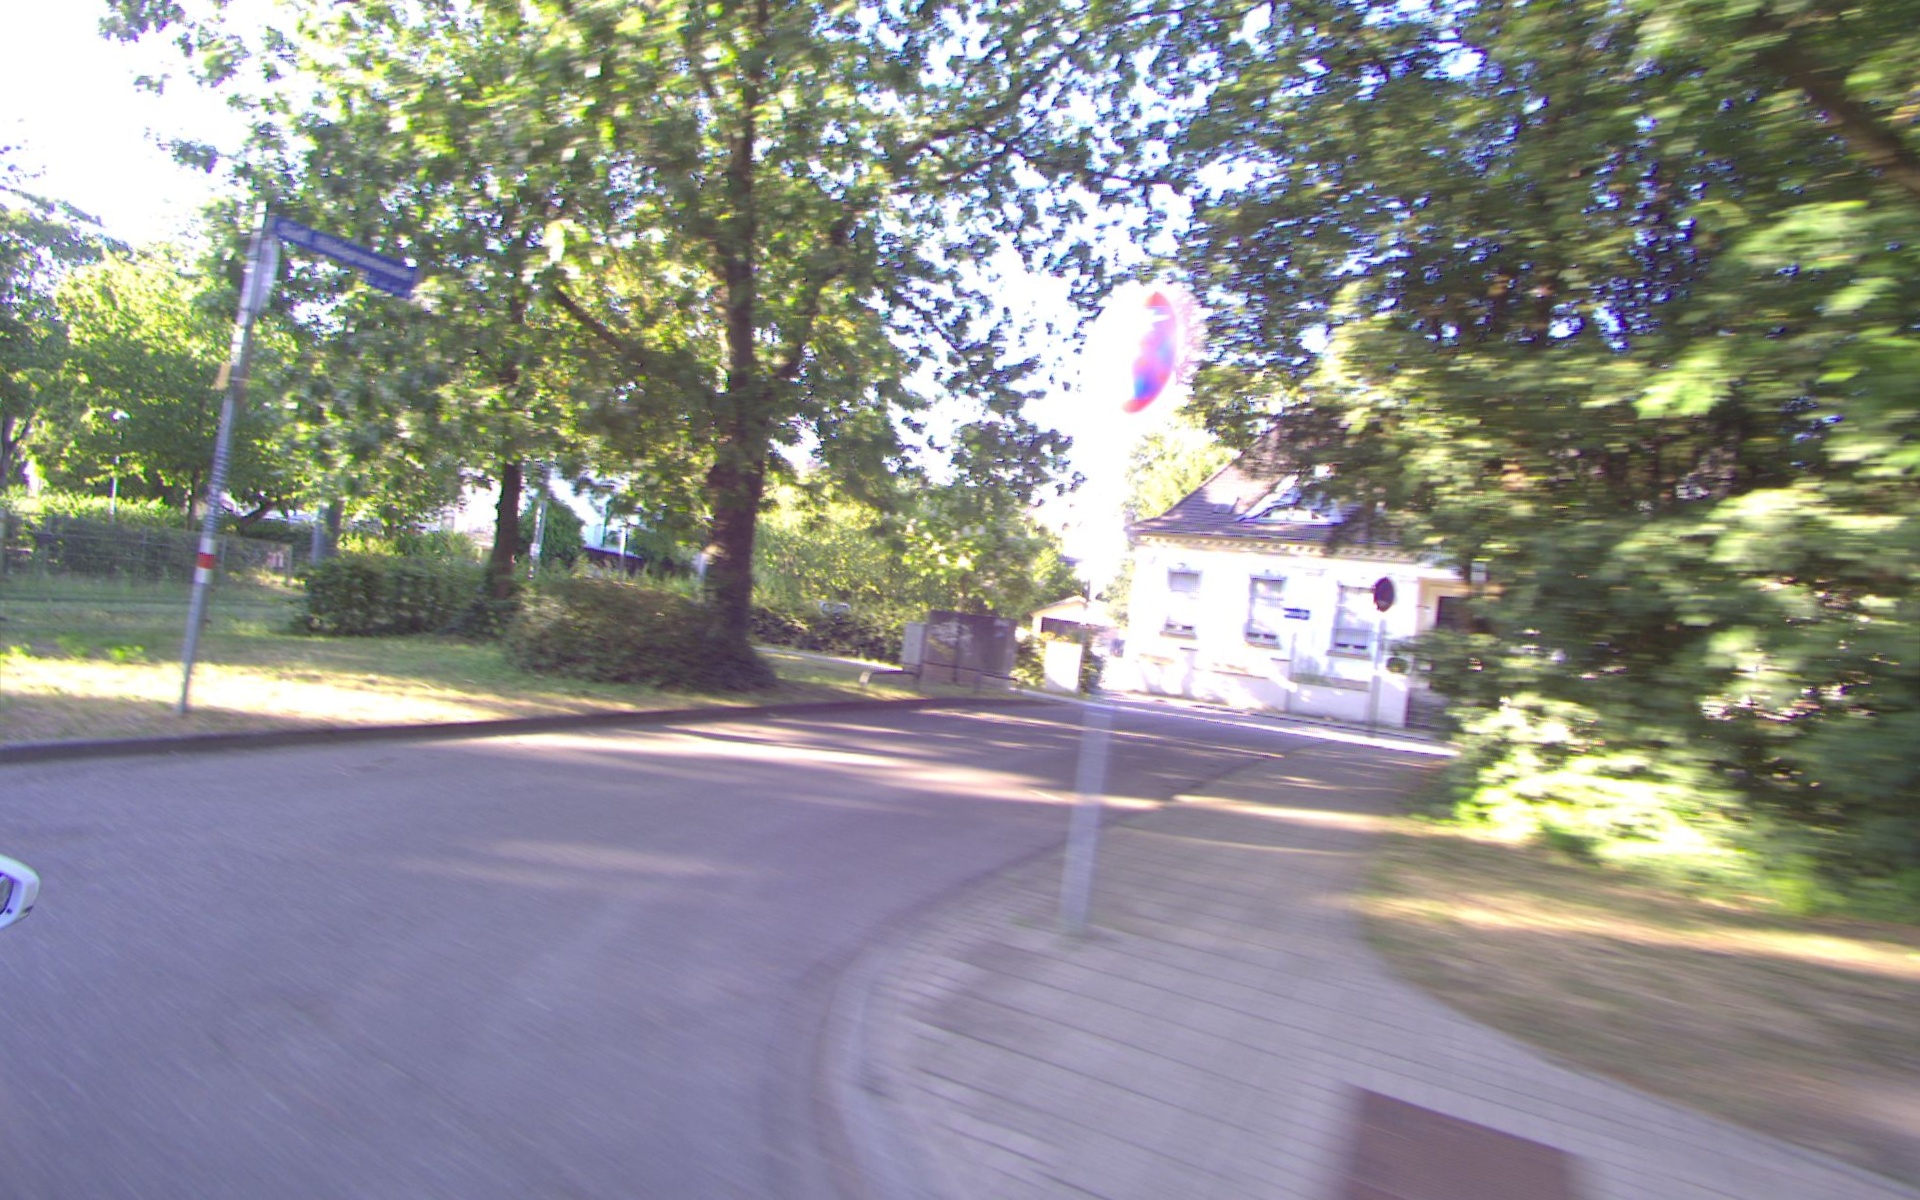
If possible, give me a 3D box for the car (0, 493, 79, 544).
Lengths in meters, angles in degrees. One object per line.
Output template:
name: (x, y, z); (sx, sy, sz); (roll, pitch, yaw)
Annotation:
car: (-44.800, -3.931, 48.032); (1.929, 2.037, 5.138); (7, -2, -16)
